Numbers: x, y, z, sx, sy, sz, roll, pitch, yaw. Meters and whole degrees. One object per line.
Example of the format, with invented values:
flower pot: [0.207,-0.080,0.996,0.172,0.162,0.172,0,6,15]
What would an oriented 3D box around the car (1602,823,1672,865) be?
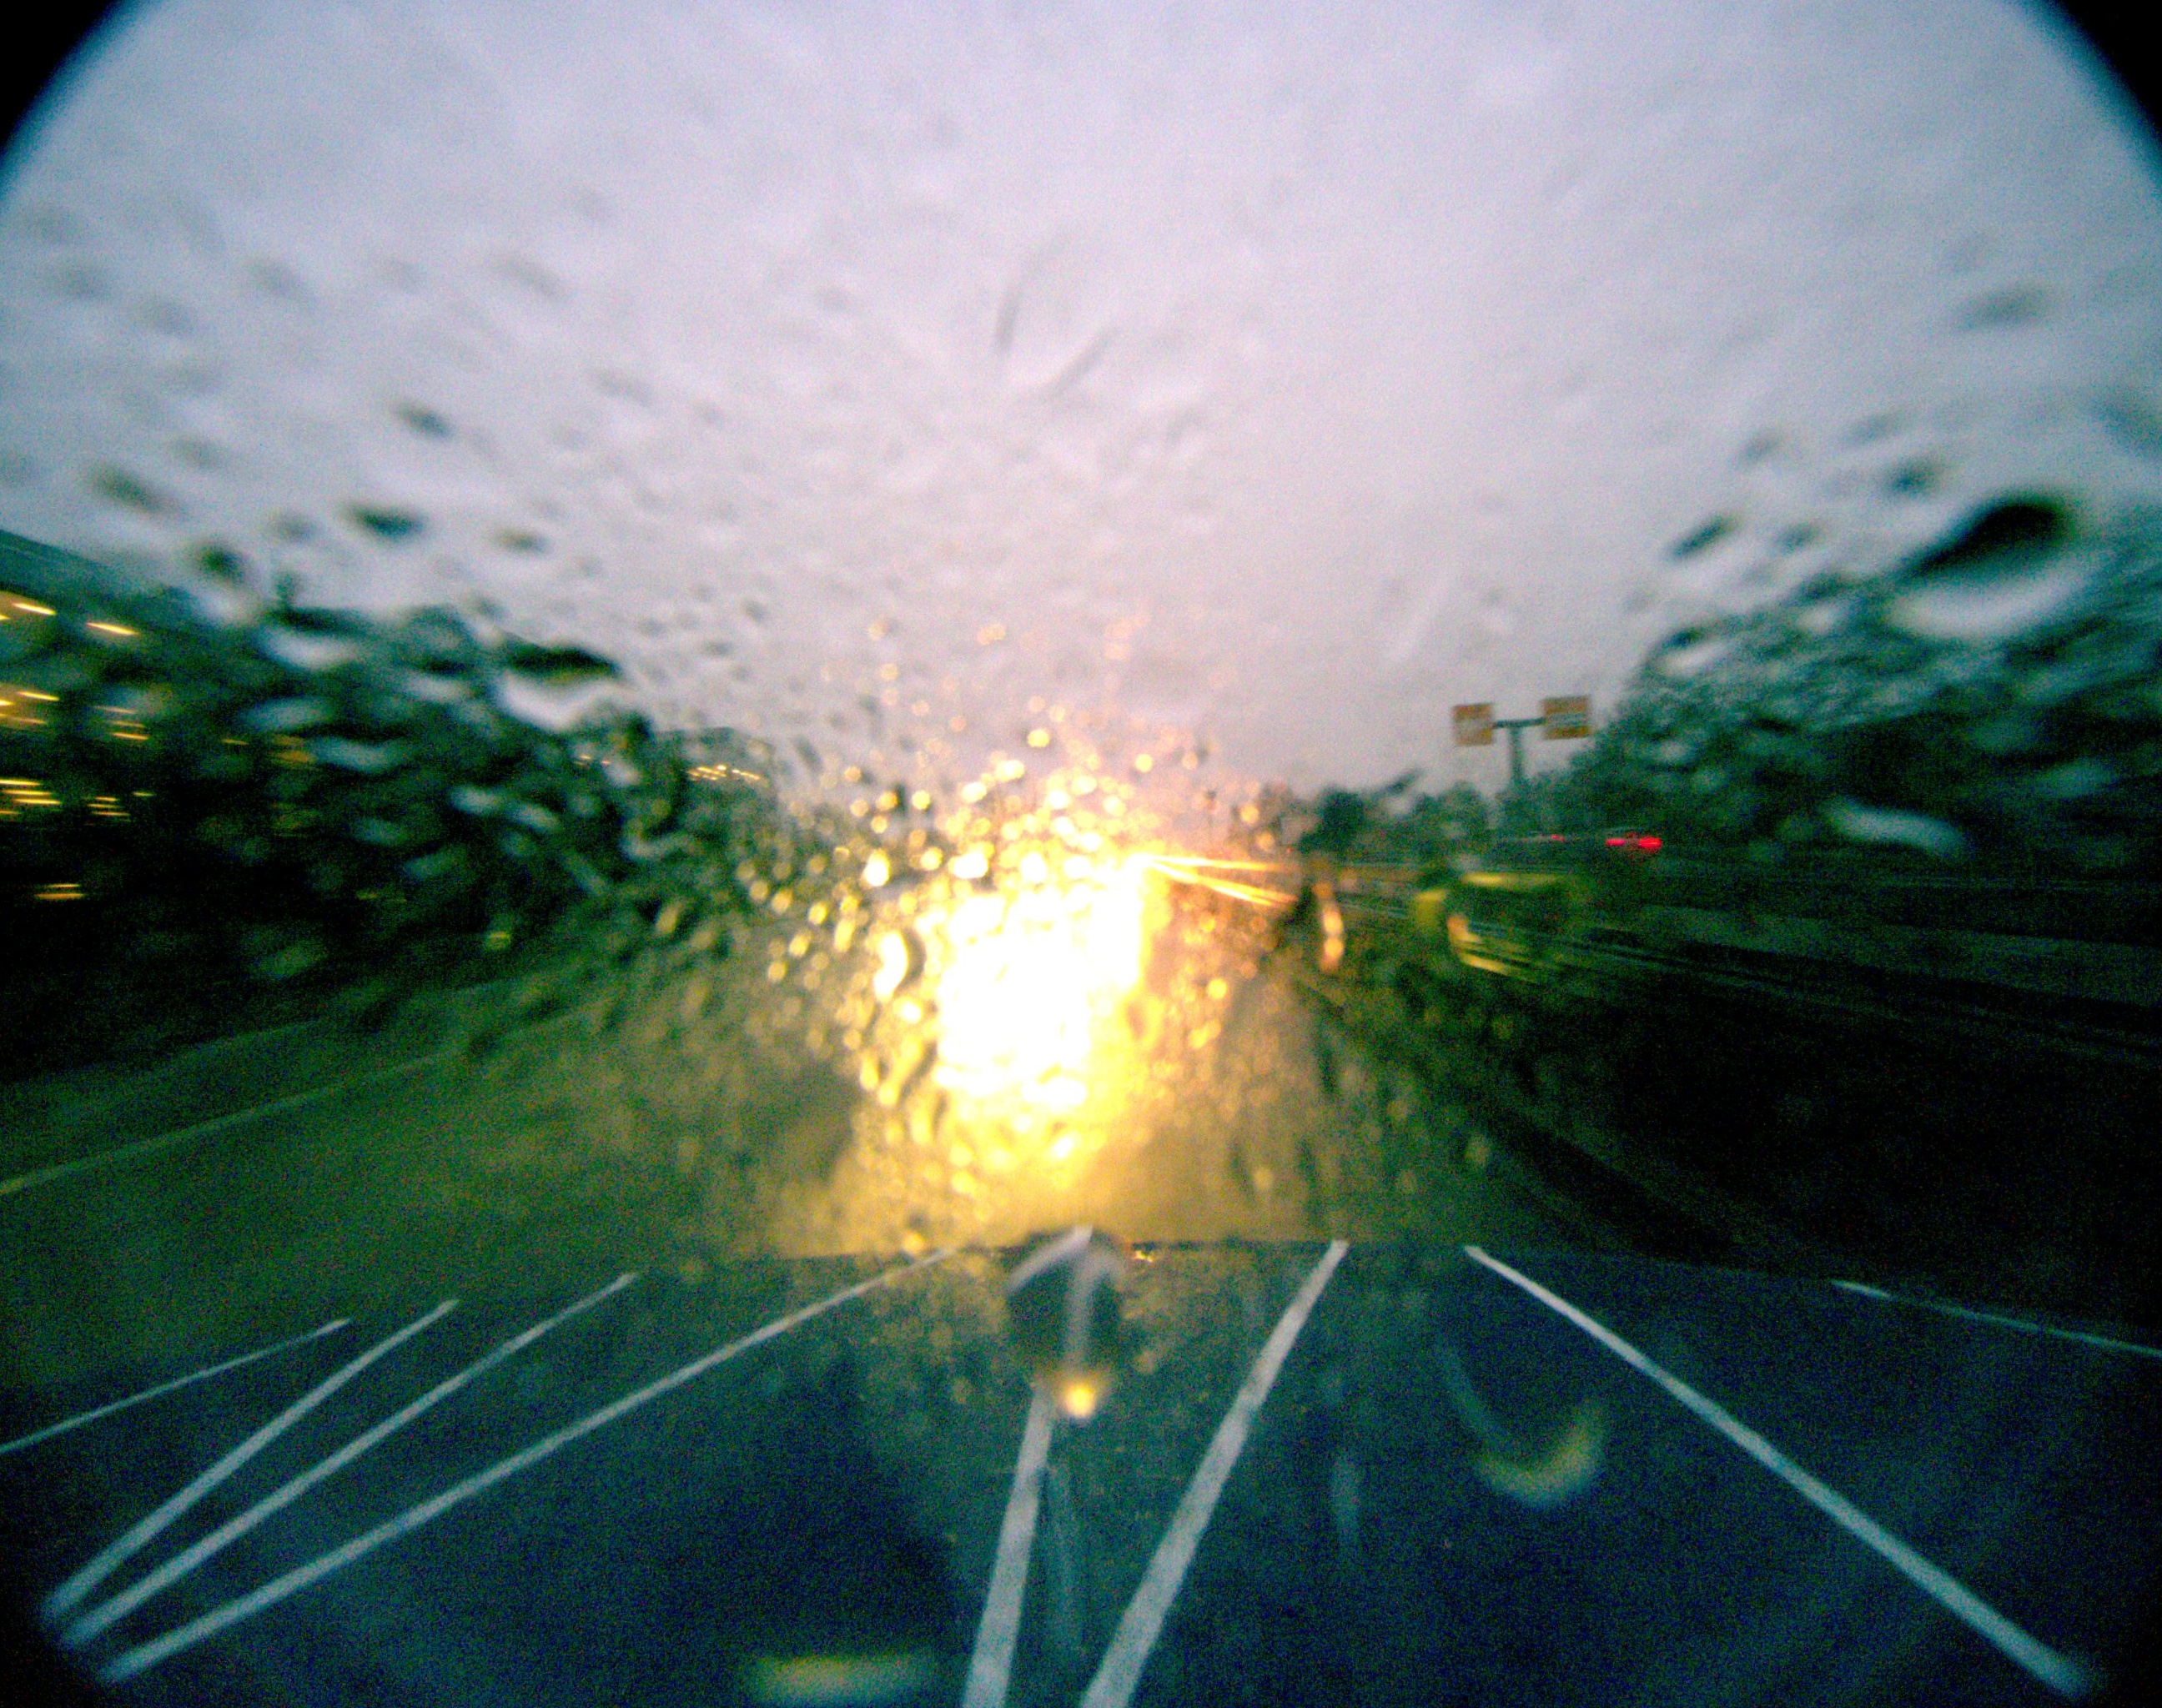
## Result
car: [28.001,-0.524,38.425,1.995,1.902,4.452,-3,0,26]

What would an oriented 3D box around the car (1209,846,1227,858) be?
car: [18.496,-0.276,102.498,1.841,1.547,4.356,-3,0,4]

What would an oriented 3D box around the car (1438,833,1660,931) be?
car: [8.439,0.437,14.161,1.741,1.486,3.843,-3,0,1]

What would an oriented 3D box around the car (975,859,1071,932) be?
car: [-1.266,0.895,18.188,1.594,1.445,4.178,-3,0,4]

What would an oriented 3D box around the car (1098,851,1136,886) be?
car: [1.833,0.687,38.167,1.758,1.521,4.001,-3,0,3]

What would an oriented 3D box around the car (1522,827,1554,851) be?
car: [39.781,-1.311,66.247,1.995,1.902,4.452,-3,0,27]
